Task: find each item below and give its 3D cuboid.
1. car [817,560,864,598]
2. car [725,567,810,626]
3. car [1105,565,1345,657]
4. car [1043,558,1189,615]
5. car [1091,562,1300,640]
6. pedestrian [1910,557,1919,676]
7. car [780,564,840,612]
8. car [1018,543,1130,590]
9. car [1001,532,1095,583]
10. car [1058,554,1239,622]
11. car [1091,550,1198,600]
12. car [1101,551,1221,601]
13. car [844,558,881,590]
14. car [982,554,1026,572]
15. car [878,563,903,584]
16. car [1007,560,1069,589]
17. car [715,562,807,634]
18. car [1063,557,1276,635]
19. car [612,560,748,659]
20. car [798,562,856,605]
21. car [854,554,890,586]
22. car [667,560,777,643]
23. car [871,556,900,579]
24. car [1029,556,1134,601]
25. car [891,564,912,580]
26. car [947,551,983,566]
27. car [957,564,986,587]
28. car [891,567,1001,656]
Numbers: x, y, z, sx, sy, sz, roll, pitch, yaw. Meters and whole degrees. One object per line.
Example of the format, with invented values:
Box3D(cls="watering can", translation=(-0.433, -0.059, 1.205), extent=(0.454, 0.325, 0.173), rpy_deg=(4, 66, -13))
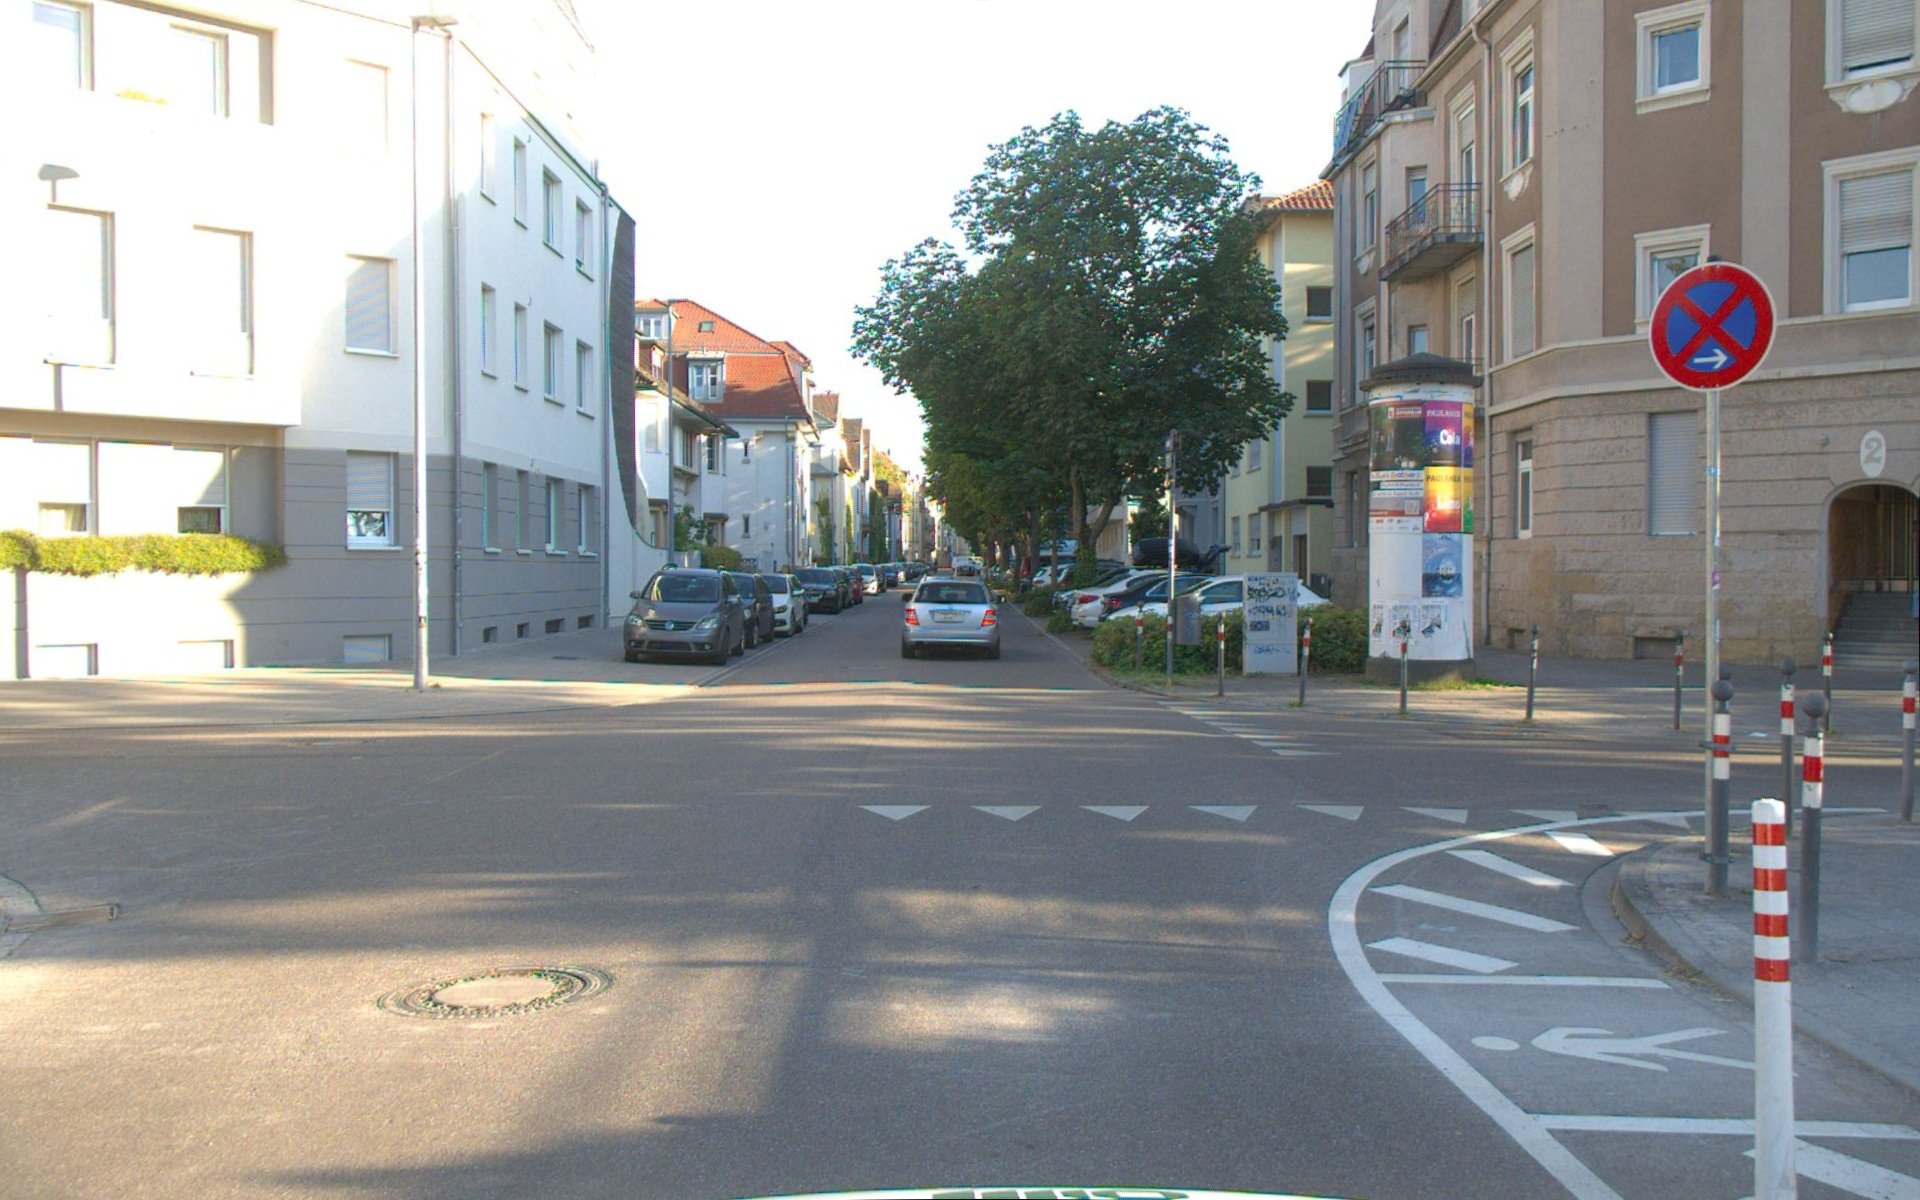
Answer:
Box3D(cls="car", translation=(-4.852, -0.875, 67.516), extent=(1.625, 1.514, 3.754), rpy_deg=(0, 1, 0))
Box3D(cls="car", translation=(-5.015, -0.118, 43.539), extent=(1.722, 1.472, 4.142), rpy_deg=(0, 1, 0))
Box3D(cls="car", translation=(4.670, 0.173, 29.534), extent=(3.966, 1.531, 1.862), rpy_deg=(-1, 1, -1))
Box3D(cls="car", translation=(4.572, -0.410, 48.850), extent=(4.105, 1.585, 1.874), rpy_deg=(-1, 1, -1))
Box3D(cls="car", translation=(4.840, -0.001, 34.365), extent=(4.059, 1.473, 1.673), rpy_deg=(-1, 1, -1))
Box3D(cls="pedestrian", translation=(13.159, 0.217, 21.924), extent=(0.801, 1.571, 0.743), rpy_deg=(0, 2, 13))
Box3D(cls="car", translation=(-4.995, -0.434, 55.628), extent=(1.817, 1.524, 4.653), rpy_deg=(0, 1, -3))
Box3D(cls="car", translation=(4.714, -1.394, 68.765), extent=(4.531, 1.868, 1.954), rpy_deg=(0, 1, -1))
Box3D(cls="car", translation=(5.274, -2.554, 99.839), extent=(5.431, 3.020, 2.471), rpy_deg=(0, 2, -3))
Box3D(cls="car", translation=(4.815, -0.330, 42.618), extent=(4.434, 1.669, 1.874), rpy_deg=(-1, 1, -1))
Box3D(cls="car", translation=(6.396, -0.870, 57.561), extent=(3.475, 1.683, 1.725), rpy_deg=(-1, 1, -1))
Box3D(cls="car", translation=(6.694, -0.817, 55.279), extent=(3.844, 1.585, 1.726), rpy_deg=(-1, 2, 2))
Box3D(cls="car", translation=(-4.823, -1.291, 82.123), extent=(1.625, 1.525, 3.754), rpy_deg=(0, 1, 0))
Box3D(cls="car", translation=(3.750, -3.158, 142.743), extent=(3.765, 1.508, 1.805), rpy_deg=(0, 2, 1))
Box3D(cls="car", translation=(-5.277, -2.055, 126.154), extent=(1.762, 1.507, 3.857), rpy_deg=(0, 2, 0))
Box3D(cls="car", translation=(4.556, -1.499, 96.932), extent=(3.522, 1.688, 1.649), rpy_deg=(0, 2, -2))
Box3D(cls="car", translation=(-4.643, -0.087, 39.101), extent=(1.846, 1.618, 4.089), rpy_deg=(0, 1, -2))
Box3D(cls="car", translation=(4.636, -0.113, 37.020), extent=(4.390, 1.552, 1.952), rpy_deg=(-2, 2, -6))
Box3D(cls="car", translation=(-4.838, 0.106, 29.069), extent=(1.846, 1.618, 4.089), rpy_deg=(0, 1, -2))
Box3D(cls="car", translation=(-4.934, -0.628, 61.700), extent=(1.747, 1.524, 4.700), rpy_deg=(0, 1, 0))
Box3D(cls="car", translation=(-4.858, -1.672, 91.555), extent=(1.762, 1.673, 3.857), rpy_deg=(0, 2, 0))
Box3D(cls="car", translation=(-4.895, -0.011, 34.493), extent=(1.846, 1.618, 4.089), rpy_deg=(0, 1, -2))
Box3D(cls="car", translation=(-4.930, -2.171, 109.842), extent=(1.762, 1.507, 3.857), rpy_deg=(0, 2, 0))
Box3D(cls="car", translation=(4.403, -0.783, 60.205), extent=(3.655, 1.585, 1.725), rpy_deg=(-1, 1, -1))
Box3D(cls="car", translation=(-5.251, -2.535, 149.698), extent=(1.762, 1.411, 3.606), rpy_deg=(0, 2, 0))
Box3D(cls="car", translation=(0.593, -4.608, 184.261), extent=(1.522, 1.500, 4.201), rpy_deg=(0, 0, -44))
Box3D(cls="car", translation=(0.798, -1.620, 110.678), extent=(1.779, 1.498, 4.218), rpy_deg=(0, 1, 2))
Box3D(cls="car", translation=(-0.185, 0.168, 30.102), extent=(1.779, 1.498, 4.218), rpy_deg=(0, 1, 2))
